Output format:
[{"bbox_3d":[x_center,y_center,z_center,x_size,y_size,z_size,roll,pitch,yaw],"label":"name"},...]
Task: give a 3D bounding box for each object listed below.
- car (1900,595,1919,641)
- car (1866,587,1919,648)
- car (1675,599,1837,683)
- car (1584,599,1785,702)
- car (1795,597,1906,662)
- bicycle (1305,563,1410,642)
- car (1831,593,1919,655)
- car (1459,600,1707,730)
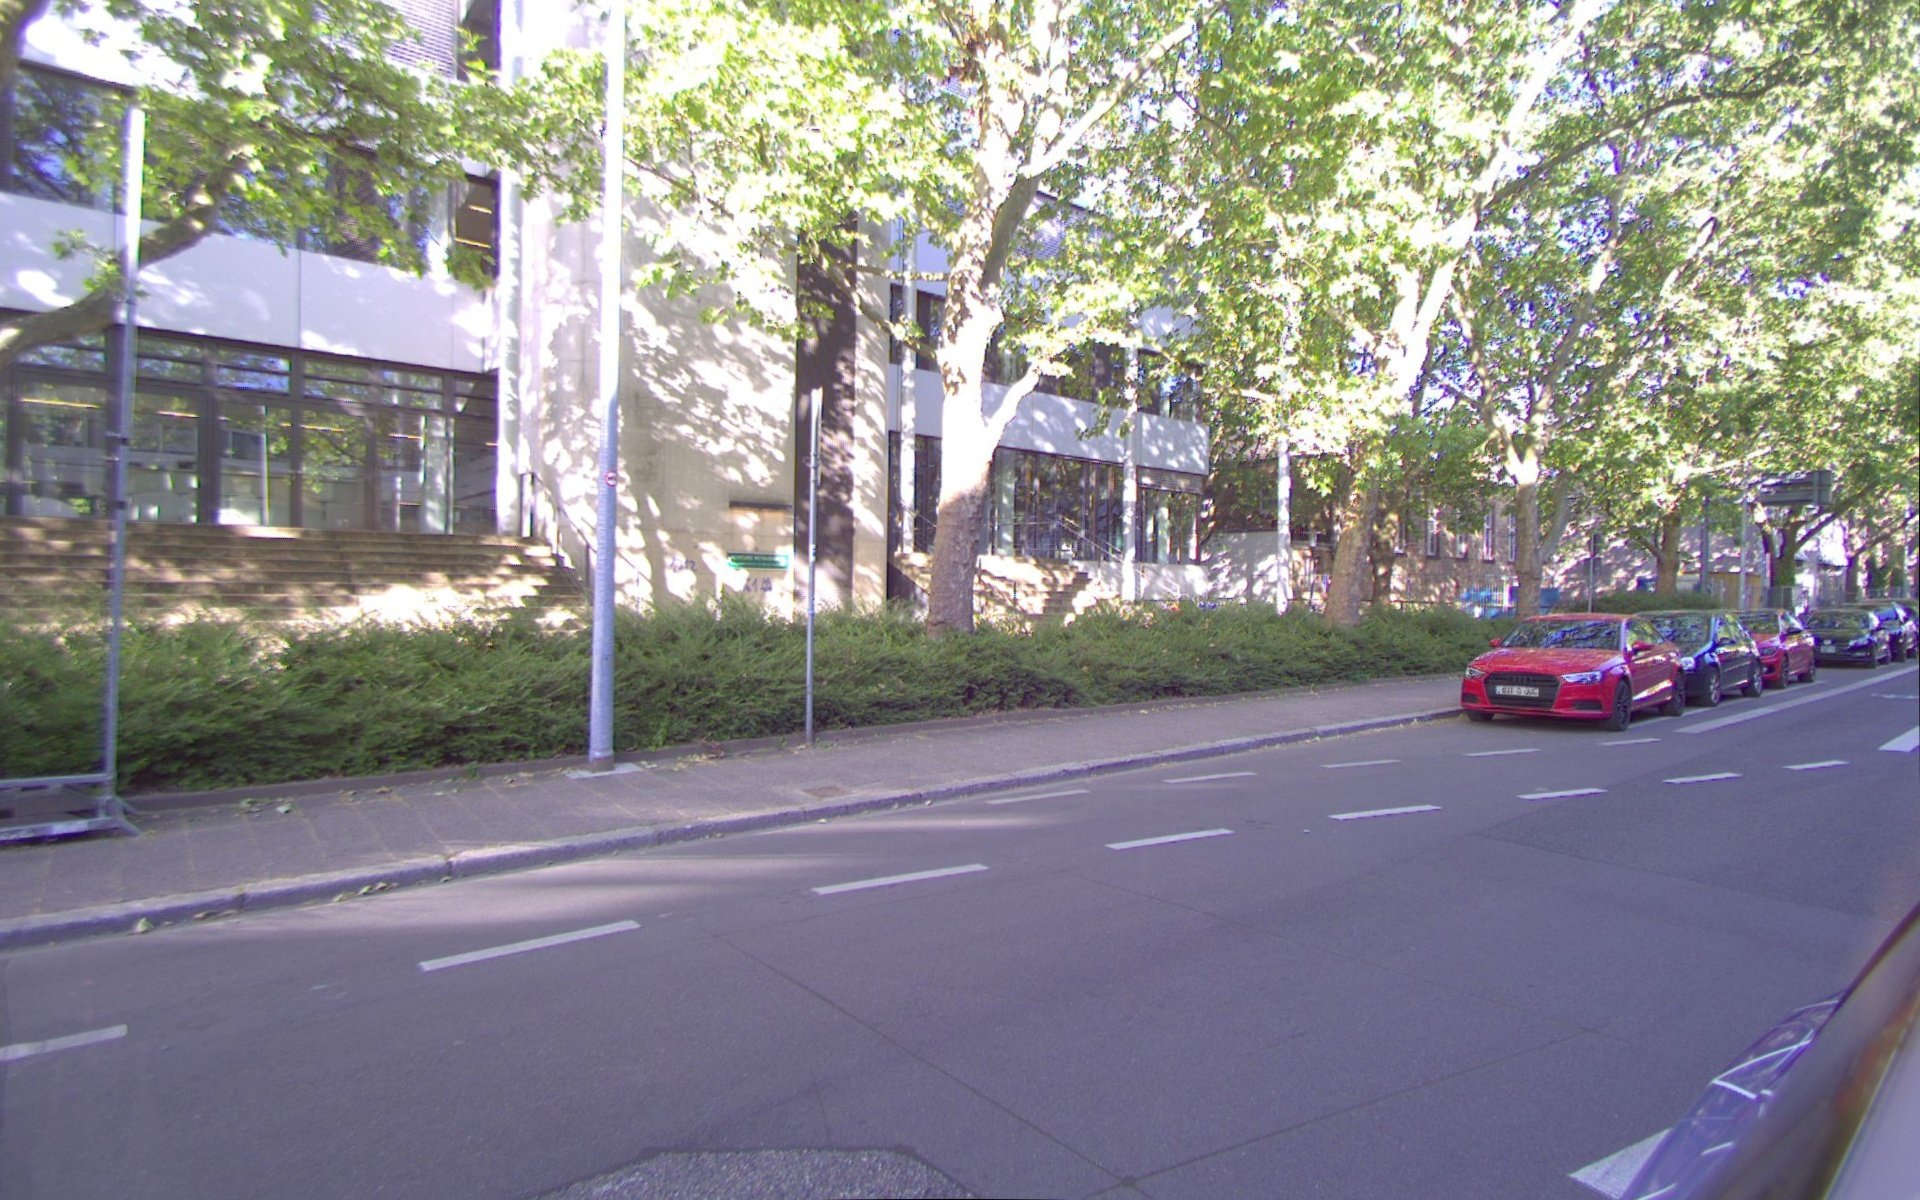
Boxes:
[{"bbox_3d":[36.075,0.637,37.319,4.256,1.648,1.694,0,-1,-43],"label":"car"},{"bbox_3d":[30.919,0.556,33.081,1.823,1.865,4.826,-2,-1,41],"label":"car"},{"bbox_3d":[15.875,0.753,20.106,4.242,1.498,1.696,0,-1,-40],"label":"car"},{"bbox_3d":[11.956,0.751,16.617,3.992,1.485,1.696,0,-1,-39],"label":"car"},{"bbox_3d":[22.891,0.716,25.971,3.952,1.523,1.694,0,-1,-43],"label":"car"},{"bbox_3d":[10.758,0.043,27.469,0.729,2.039,2.603,1,1,-40],"label":"bicycle"},{"bbox_3d":[26.701,0.661,29.188,4.541,1.648,1.778,0,-1,-42],"label":"car"},{"bbox_3d":[8.463,0.749,13.581,4.360,1.468,1.694,0,-1,-43],"label":"car"}]
